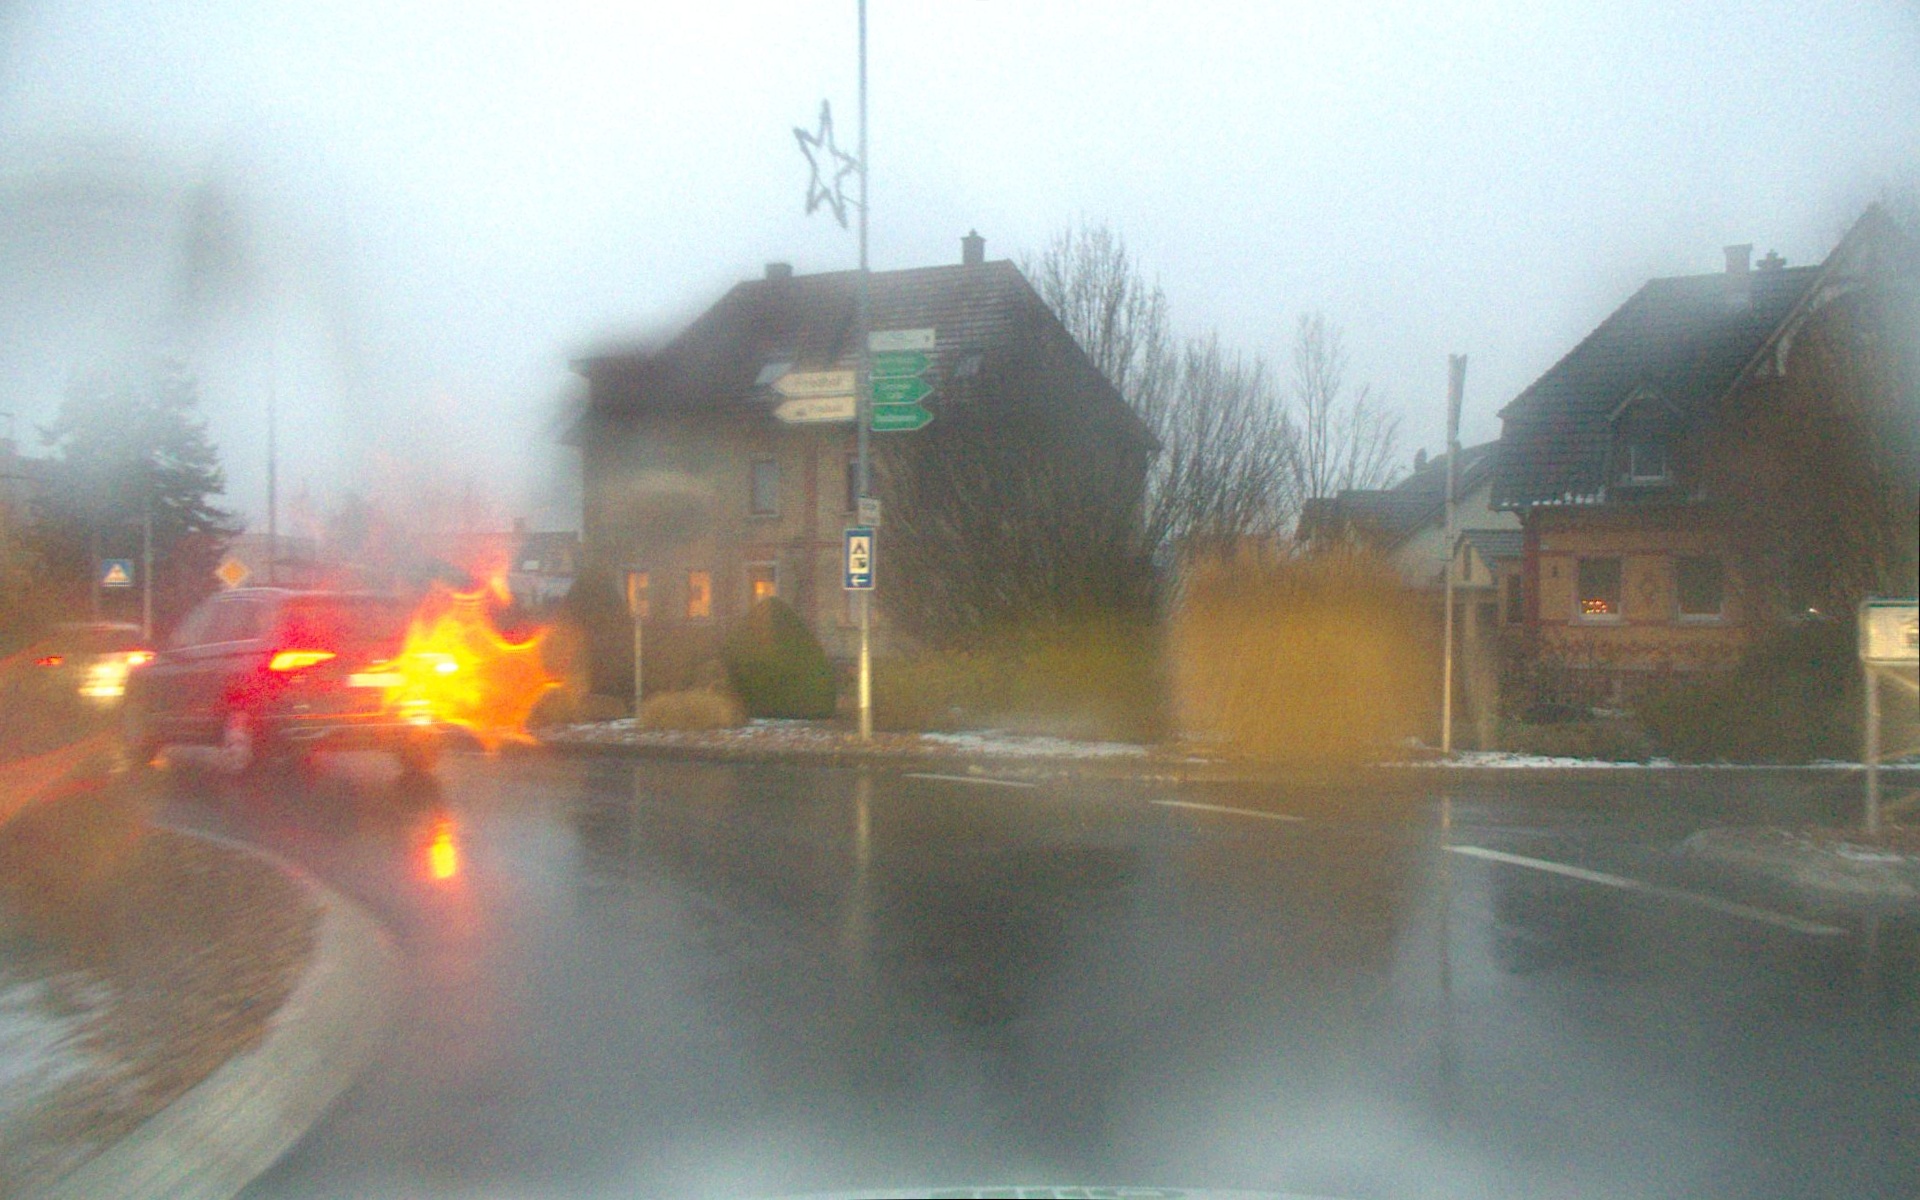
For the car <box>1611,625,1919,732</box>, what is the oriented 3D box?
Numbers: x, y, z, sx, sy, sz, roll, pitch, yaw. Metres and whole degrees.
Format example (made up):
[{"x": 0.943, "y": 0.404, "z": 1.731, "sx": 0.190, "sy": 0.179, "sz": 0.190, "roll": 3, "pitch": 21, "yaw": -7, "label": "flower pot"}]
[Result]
[{"x": 15.661, "y": 1.515, "z": 32.356, "sx": 5.211, "sy": 1.898, "sz": 2.365, "roll": -2, "pitch": 0, "yaw": 27, "label": "car"}]

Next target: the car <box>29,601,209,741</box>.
[{"x": -12.367, "y": 0.940, "z": 24.219, "sx": 2.140, "sy": 1.719, "sz": 4.527, "roll": -1, "pitch": 1, "yaw": -29, "label": "car"}]

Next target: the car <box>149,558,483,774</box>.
[{"x": -6.155, "y": 0.538, "z": 15.559, "sx": 1.931, "sy": 1.748, "sz": 3.946, "roll": 0, "pitch": 0, "yaw": -38, "label": "car"}]
